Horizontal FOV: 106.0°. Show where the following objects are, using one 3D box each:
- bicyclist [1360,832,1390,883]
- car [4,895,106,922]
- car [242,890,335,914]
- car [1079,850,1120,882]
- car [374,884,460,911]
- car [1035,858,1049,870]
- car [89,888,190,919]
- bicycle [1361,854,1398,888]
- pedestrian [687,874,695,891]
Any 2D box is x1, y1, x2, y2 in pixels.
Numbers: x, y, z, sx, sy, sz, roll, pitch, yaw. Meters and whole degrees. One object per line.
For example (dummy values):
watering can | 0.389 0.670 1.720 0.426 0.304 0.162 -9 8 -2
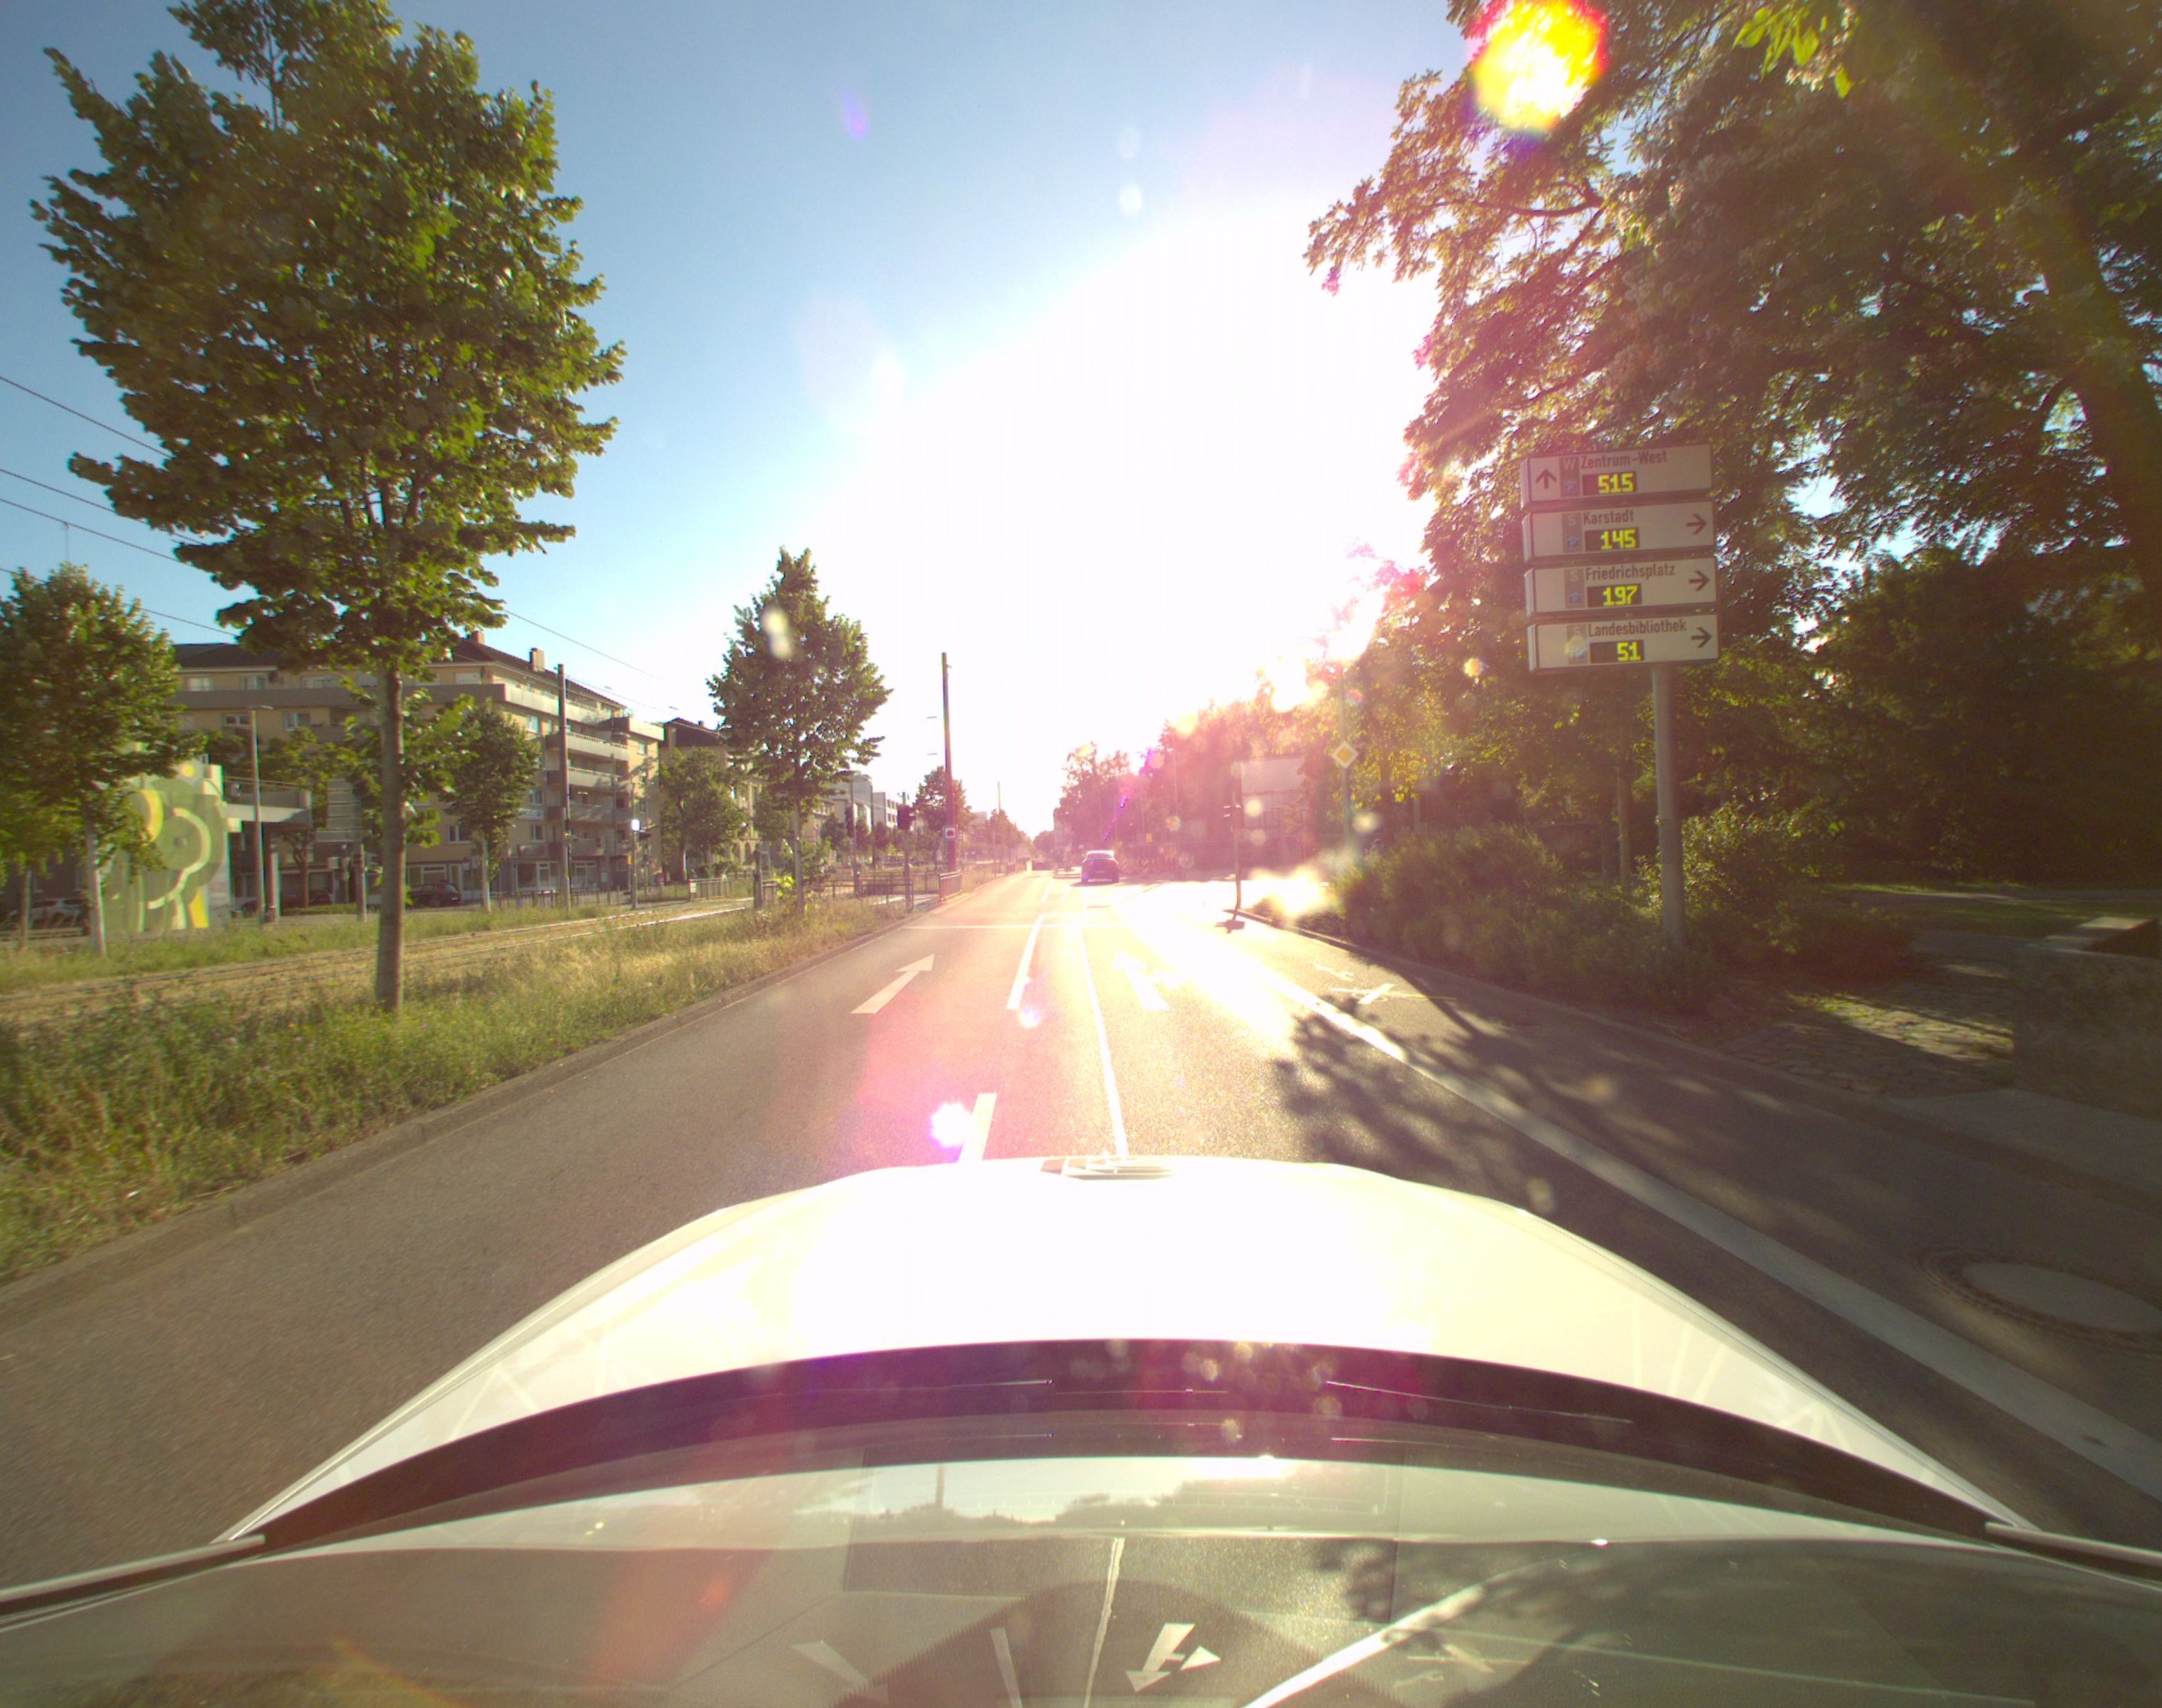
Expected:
bicyclist | 9.633 0.108 26.720 0.582 1.614 0.902 -2 0 -2
car | -65.967 3.493 52.390 3.978 1.434 1.845 -2 0 -3
car | -51.707 3.149 53.219 3.977 1.303 1.998 -2 0 -3
car | 0.966 0.638 44.217 2.000 1.659 3.996 0 -1 -2
car | -43.506 2.831 53.406 3.978 1.496 1.845 -2 0 -3
car | -5.332 1.383 111.772 1.822 1.659 3.996 0 -1 -2
car | -60.718 3.152 52.569 3.977 1.743 1.998 -2 0 -3
bicycle | 9.747 0.532 26.636 0.426 1.061 1.910 -2 0 -1
pedestrian | -37.637 2.753 78.557 0.518 1.555 0.448 -2 0 -3
